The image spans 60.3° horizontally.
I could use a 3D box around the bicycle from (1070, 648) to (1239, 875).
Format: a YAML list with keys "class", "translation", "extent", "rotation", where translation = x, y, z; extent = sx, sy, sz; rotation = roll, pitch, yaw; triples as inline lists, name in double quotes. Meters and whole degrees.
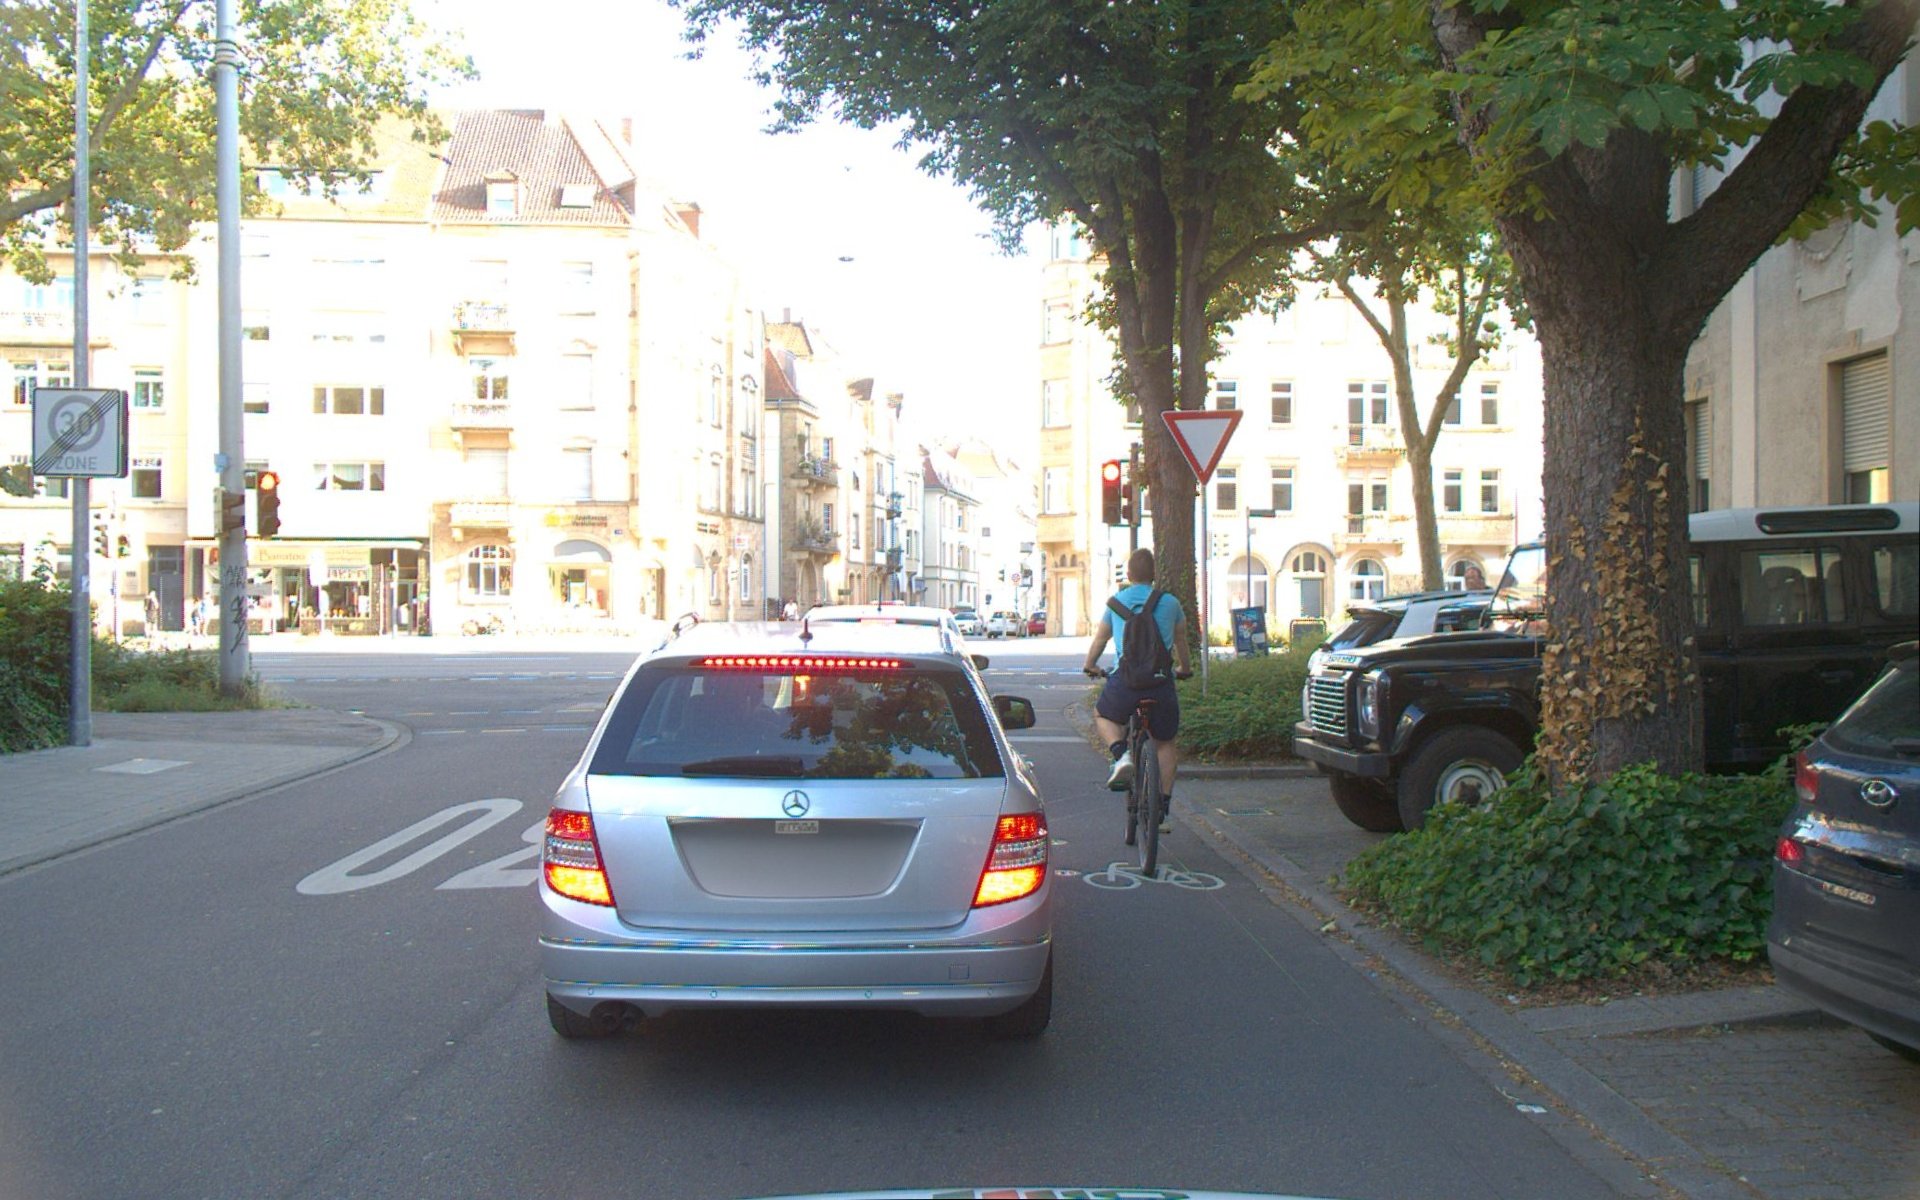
- class: "bicycle"
  translation: [1.111, 0.896, 9.887]
  extent: [0.727, 1.137, 2.013]
  rotation: [1, 0, -1]

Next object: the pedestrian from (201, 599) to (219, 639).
- class: "pedestrian"
  translation: [-29.080, 0.738, 64.119]
  extent: [0.498, 1.537, 0.536]
  rotation: [0, 0, -5]

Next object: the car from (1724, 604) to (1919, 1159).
- class: "car"
  translation: [4.327, 0.684, 4.553]
  extent: [3.675, 1.446, 1.627]
  rotation: [-2, -1, -4]

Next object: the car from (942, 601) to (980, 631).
- class: "car"
  translation: [0.105, 0.959, 100.826]
  extent: [1.650, 1.753, 4.003]
  rotation: [0, 0, 10]

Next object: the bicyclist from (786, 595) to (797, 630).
- class: "bicyclist"
  translation: [-7.457, 0.544, 73.131]
  extent: [0.457, 1.541, 0.655]
  rotation: [0, 0, -4]

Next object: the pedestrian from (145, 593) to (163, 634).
- class: "pedestrian"
  translation: [-30.540, 0.506, 62.694]
  extent: [0.557, 1.537, 0.499]
  rotation: [0, 0, -20]

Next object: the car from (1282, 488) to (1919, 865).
- class: "car"
  translation: [4.419, 0.397, 10.244]
  extent: [4.402, 1.990, 1.791]
  rotation: [-2, 0, -4]

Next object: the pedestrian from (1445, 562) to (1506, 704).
- class: "pedestrian"
  translation: [6.945, 0.438, 22.289]
  extent: [0.619, 1.877, 0.574]
  rotation: [0, 0, -5]

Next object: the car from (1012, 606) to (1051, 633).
- class: "car"
  translation: [4.444, 1.186, 102.134]
  extent: [1.684, 1.503, 4.004]
  rotation: [-4, 0, 11]

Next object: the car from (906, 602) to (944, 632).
- class: "car"
  translation: [-2.120, 1.094, 102.385]
  extent: [1.615, 1.814, 3.866]
  rotation: [0, -1, 10]

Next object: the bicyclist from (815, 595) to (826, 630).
- class: "bicyclist"
  translation: [-6.175, 0.544, 73.216]
  extent: [0.457, 1.547, 0.693]
  rotation: [0, 0, -4]

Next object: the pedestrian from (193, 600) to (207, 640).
- class: "pedestrian"
  translation: [-29.042, 0.756, 63.204]
  extent: [0.466, 1.537, 0.428]
  rotation: [0, 0, -21]

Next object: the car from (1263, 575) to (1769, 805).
- class: "car"
  translation: [4.340, 0.655, 13.196]
  extent: [3.415, 1.614, 1.708]
  rotation: [-1, 0, -7]

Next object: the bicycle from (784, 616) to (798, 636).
- class: "bicycle"
  translation: [-7.453, 1.135, 73.052]
  extent: [0.557, 0.849, 1.564]
  rotation: [0, 0, -4]

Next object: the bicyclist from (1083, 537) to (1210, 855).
- class: "bicyclist"
  translation: [1.098, 0.550, 9.880]
  extent: [0.633, 1.806, 0.830]
  rotation: [1, -1, -1]

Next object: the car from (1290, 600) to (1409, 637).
- class: "car"
  translation: [11.830, 0.556, 50.349]
  extent: [3.296, 1.087, 1.380]
  rotation: [0, 0, -2]

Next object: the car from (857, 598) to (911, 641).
- class: "car"
  translation: [-3.638, 0.919, 79.694]
  extent: [1.896, 1.993, 4.153]
  rotation: [0, 0, 7]

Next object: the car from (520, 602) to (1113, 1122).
- class: "car"
  translation: [-0.498, 0.757, 6.460]
  extent: [1.657, 1.454, 3.490]
  rotation: [1, 0, -3]

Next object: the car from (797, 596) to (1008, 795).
- class: "car"
  translation: [-0.481, 0.683, 13.683]
  extent: [1.502, 1.415, 3.597]
  rotation: [0, 0, -2]

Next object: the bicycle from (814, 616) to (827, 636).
- class: "bicycle"
  translation: [-6.175, 1.128, 73.168]
  extent: [0.557, 0.849, 1.564]
  rotation: [0, 0, -4]

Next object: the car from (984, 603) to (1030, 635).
- class: "car"
  translation: [2.465, 0.984, 85.941]
  extent: [1.684, 1.504, 4.004]
  rotation: [-2, 0, 11]
